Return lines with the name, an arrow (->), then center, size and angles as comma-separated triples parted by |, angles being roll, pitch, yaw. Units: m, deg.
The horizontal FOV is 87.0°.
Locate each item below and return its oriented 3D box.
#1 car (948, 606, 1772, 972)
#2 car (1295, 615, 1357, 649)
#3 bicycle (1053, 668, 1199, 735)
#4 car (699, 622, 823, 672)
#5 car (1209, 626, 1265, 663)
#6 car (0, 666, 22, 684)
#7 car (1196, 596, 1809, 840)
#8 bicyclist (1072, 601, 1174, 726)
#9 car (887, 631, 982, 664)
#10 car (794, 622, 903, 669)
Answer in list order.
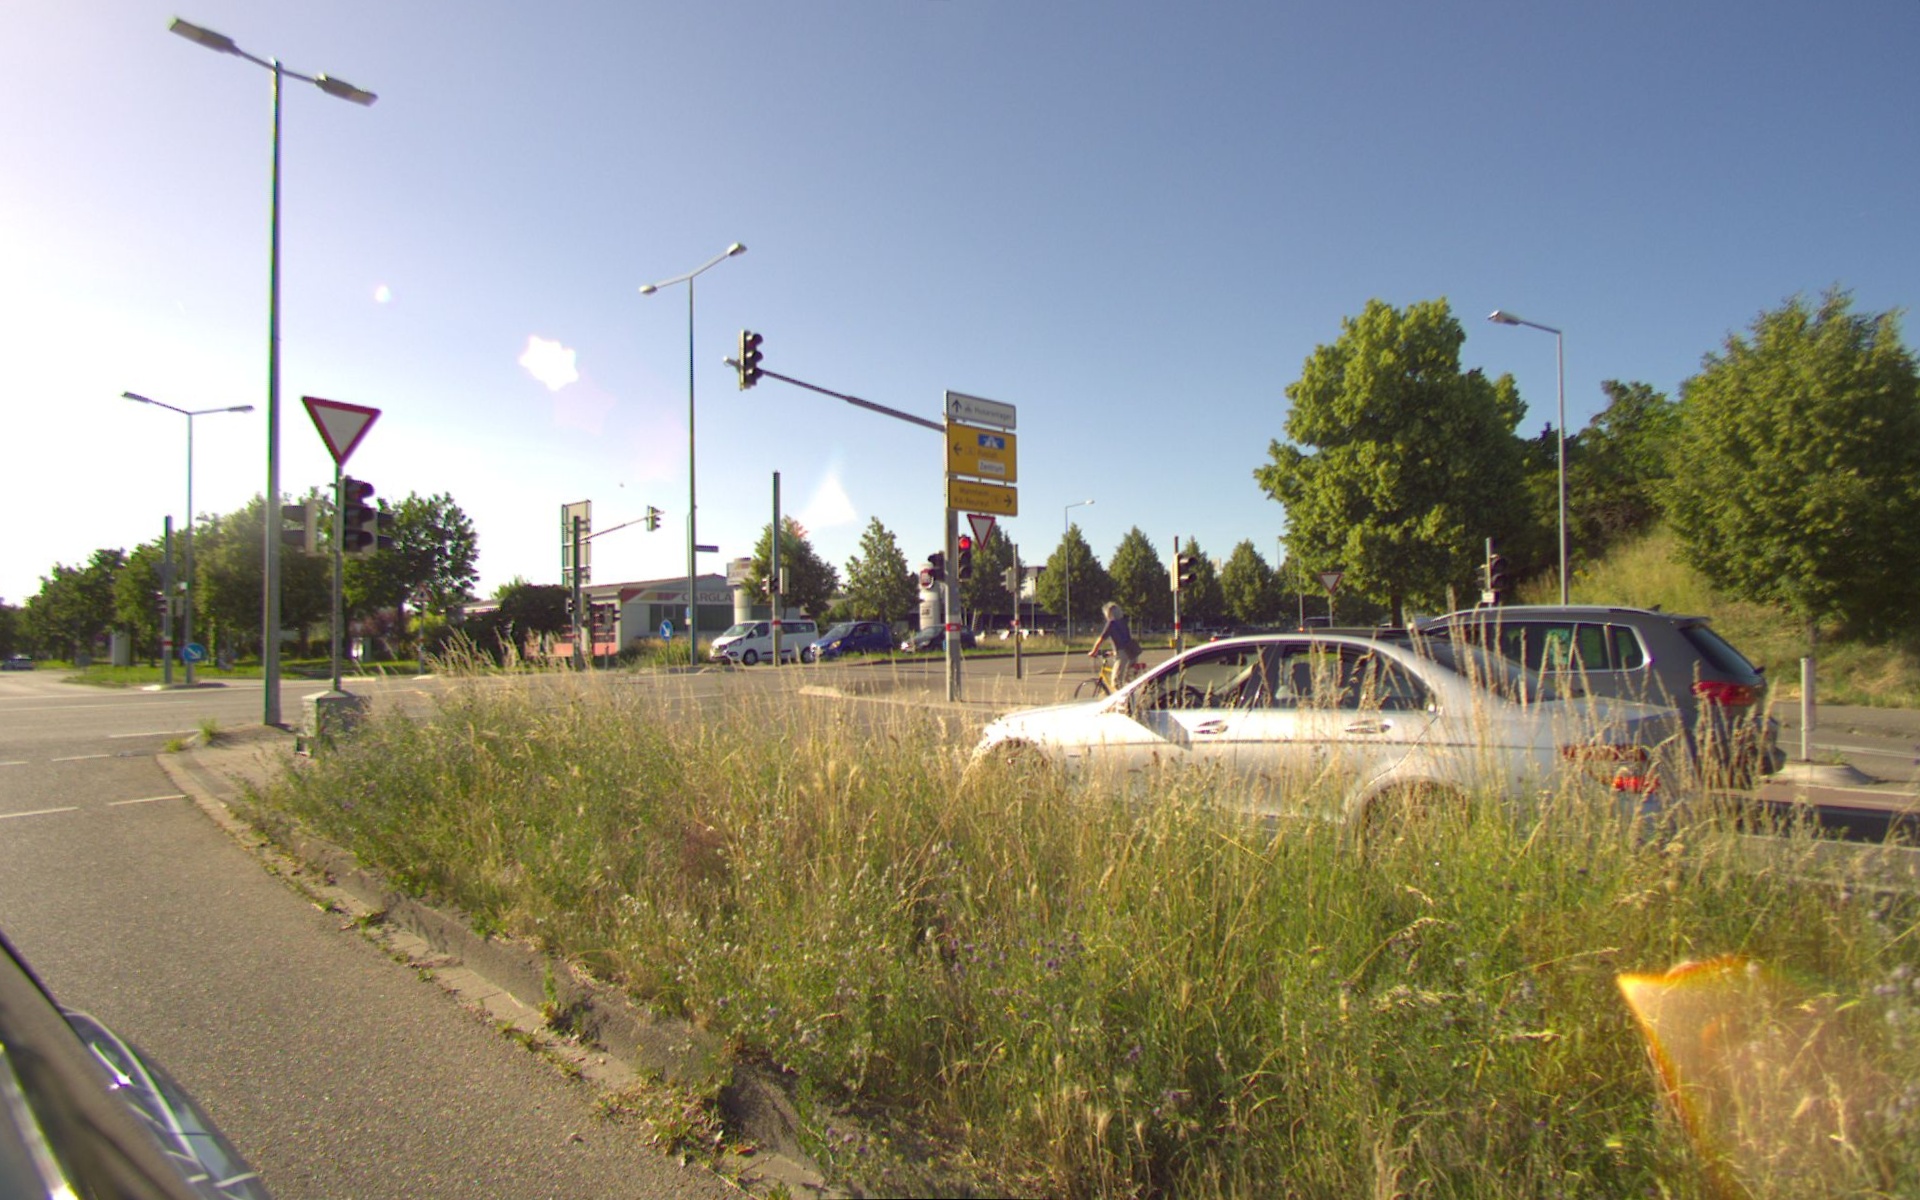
car -> 2.158, 0.874, 6.430 | 4.531, 1.518, 1.773 | -3, -3, 43
car -> 19.592, 1.708, 54.086 | 1.831, 1.639, 3.948 | -3, -2, 39
bicycle -> 2.360, 1.429, 14.569 | 1.990, 0.854, 0.741 | -3, -3, 43
car -> -8.643, 2.034, 44.364 | 2.045, 2.029, 5.206 | -5, -4, 39
car -> 11.008, 1.713, 40.352 | 2.029, 1.319, 4.660 | 0, -1, 15
car -> -98.484, 7.674, 102.943 | 4.423, 1.719, 2.003 | 1, -3, -40
car -> 4.658, 0.894, 9.182 | 4.531, 1.656, 1.971 | -3, -3, 43
bicyclist -> 2.344, 0.901, 14.598 | 1.242, 1.715, 0.736 | -2, -3, 42
car -> -1.060, 1.997, 43.095 | 1.891, 1.284, 3.987 | -5, -4, 39
car -> -4.236, 1.720, 38.965 | 1.891, 1.657, 3.987 | -5, -4, 39
